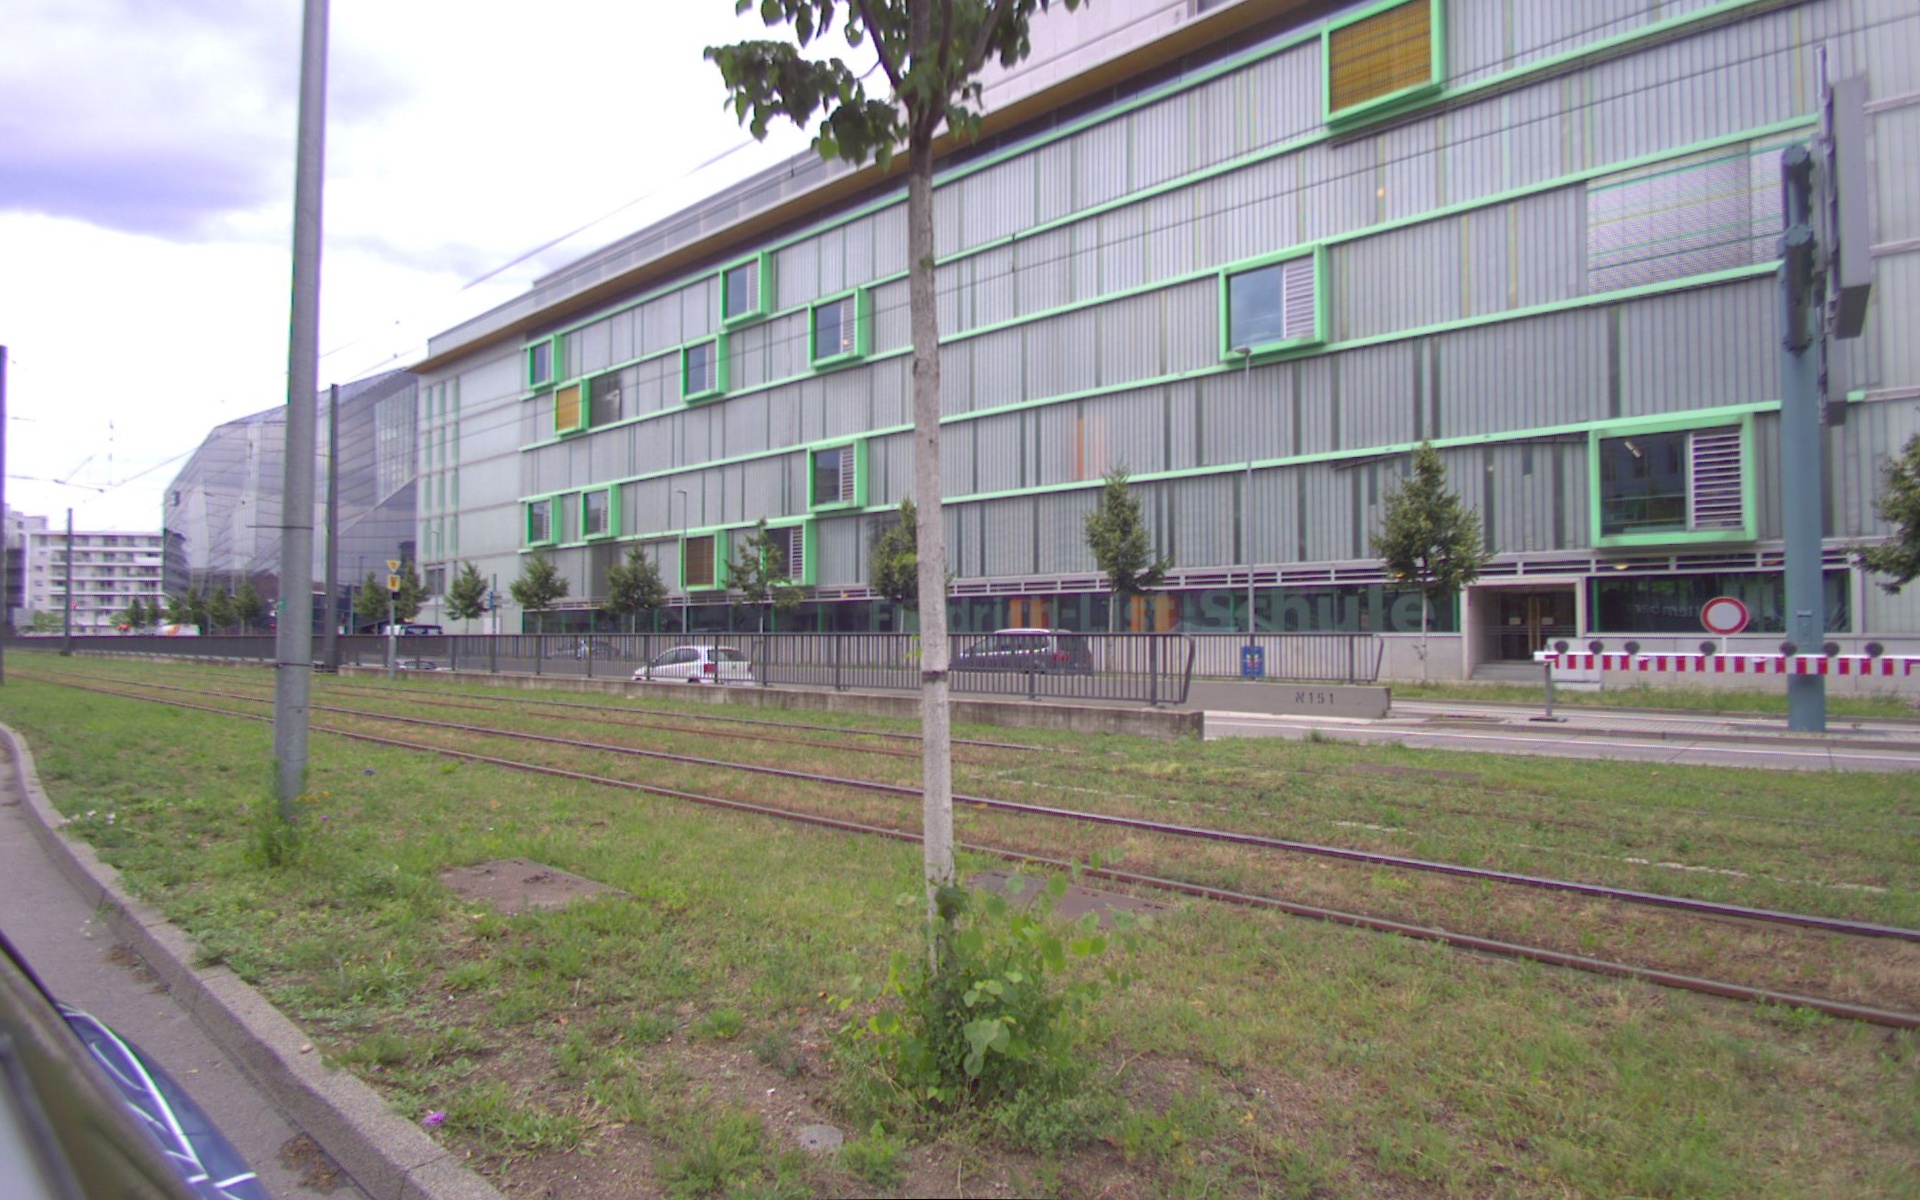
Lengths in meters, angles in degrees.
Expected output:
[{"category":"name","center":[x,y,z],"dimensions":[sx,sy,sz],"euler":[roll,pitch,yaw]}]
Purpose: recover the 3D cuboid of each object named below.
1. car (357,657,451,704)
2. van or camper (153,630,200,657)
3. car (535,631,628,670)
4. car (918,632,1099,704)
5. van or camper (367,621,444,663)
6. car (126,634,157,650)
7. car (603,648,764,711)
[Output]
[{"category":"car","center":[-21.393,3.042,38.875],"dimensions":[4.380,1.598,1.971],"euler":[-3,-3,44]},{"category":"van or camper","center":[-70.061,3.914,90.447],"dimensions":[6.503,2.304,2.150],"euler":[-3,-2,42]},{"category":"car","center":[-16.913,2.224,45.132],"dimensions":[4.645,1.679,1.972],"euler":[-2,-3,42]},{"category":"car","center":[1.283,1.845,28.476],"dimensions":[4.965,1.837,1.972],"euler":[-2,-3,42]},{"category":"van or camper","center":[-32.205,2.435,58.715],"dimensions":[5.356,2.304,2.150],"euler":[-2,-3,41]},{"category":"car","center":[-91.057,4.712,112.561],"dimensions":[4.766,1.605,1.971],"euler":[-5,-4,43]},{"category":"car","center":[-7.299,2.009,26.478],"dimensions":[4.568,1.490,1.744],"euler":[-2,-4,40]}]
